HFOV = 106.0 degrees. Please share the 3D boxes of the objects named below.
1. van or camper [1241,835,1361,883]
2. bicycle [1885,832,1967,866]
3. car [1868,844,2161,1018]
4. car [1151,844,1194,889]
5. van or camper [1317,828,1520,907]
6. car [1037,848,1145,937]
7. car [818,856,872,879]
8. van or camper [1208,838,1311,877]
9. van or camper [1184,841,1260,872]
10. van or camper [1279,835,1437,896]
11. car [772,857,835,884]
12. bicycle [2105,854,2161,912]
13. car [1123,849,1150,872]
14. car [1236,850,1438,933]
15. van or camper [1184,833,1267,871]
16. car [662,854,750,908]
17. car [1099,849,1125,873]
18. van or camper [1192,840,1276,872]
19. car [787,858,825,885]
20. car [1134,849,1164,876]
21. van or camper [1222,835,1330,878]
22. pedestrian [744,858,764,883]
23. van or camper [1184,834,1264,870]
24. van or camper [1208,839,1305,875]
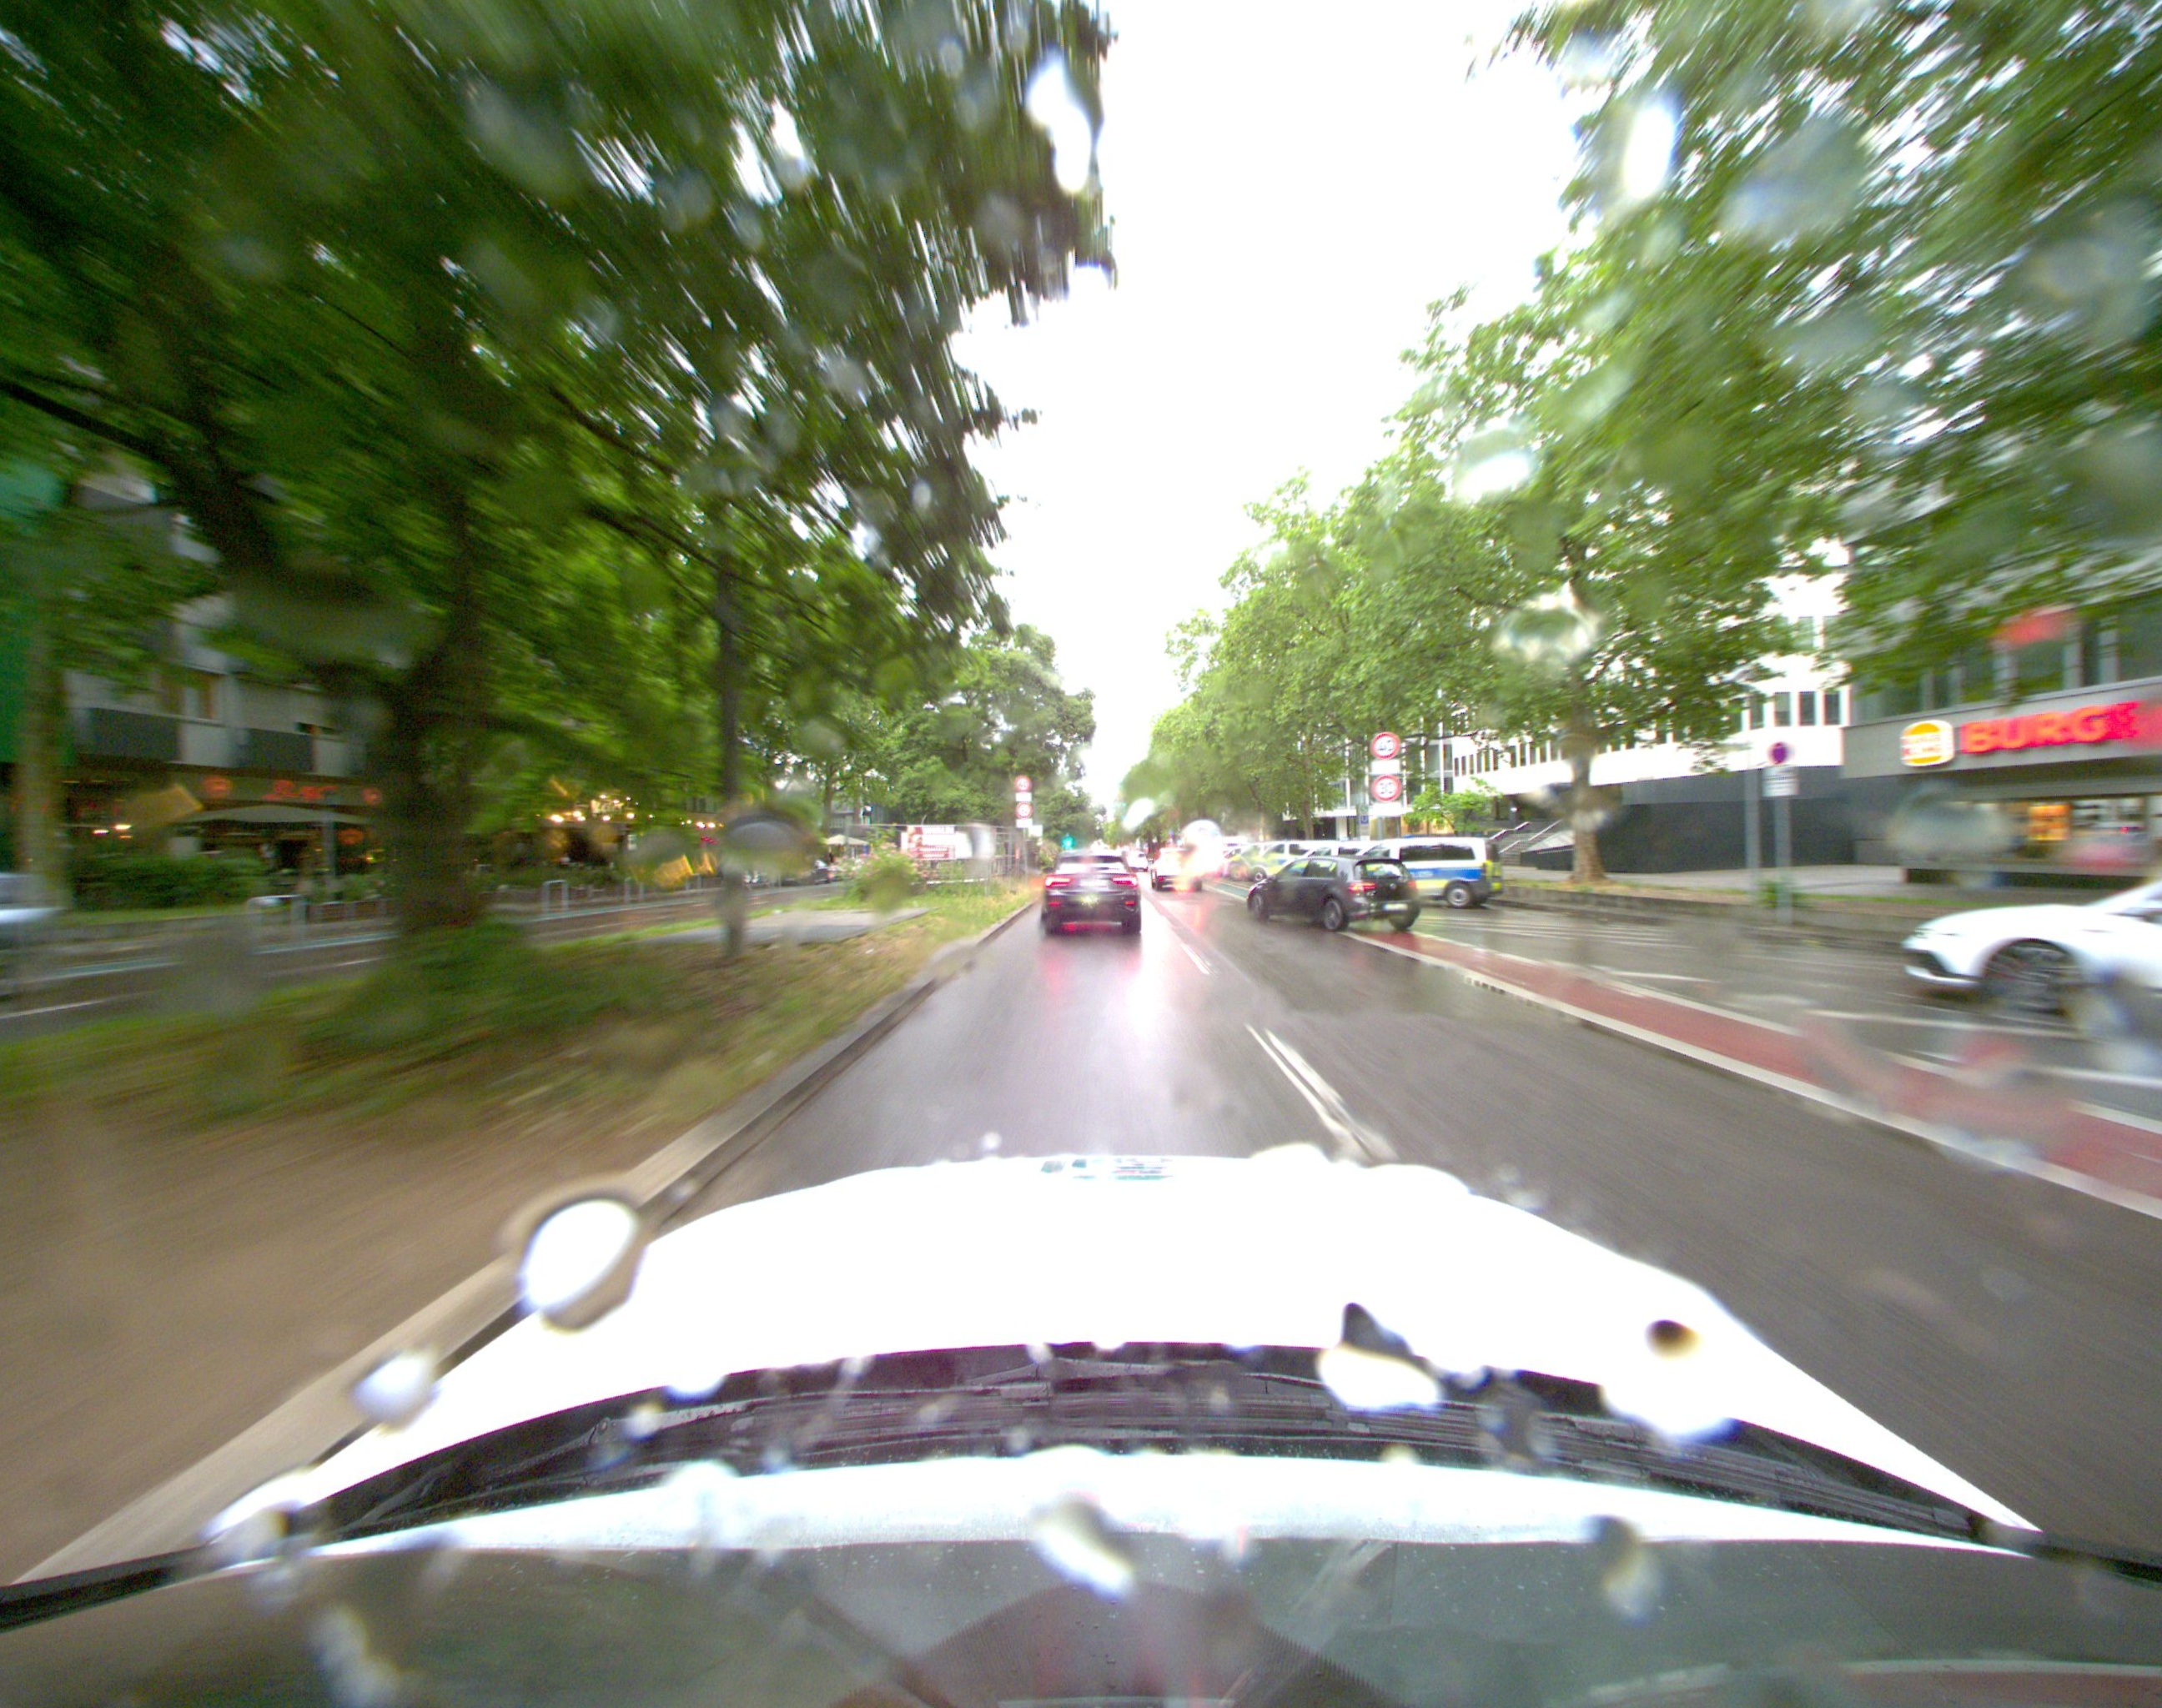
[{"bbox_3d":[9.787,0.230,36.449,4.792,1.998,1.880,-1,0,38],"label":"van or camper"},{"bbox_3d":[31.106,-0.182,30.032,0.684,1.173,2.288,-1,0,1],"label":"bicycle"},{"bbox_3d":[10.028,0.637,7.008,1.876,1.445,4.458,-1,0,-38],"label":"car"},{"bbox_3d":[3.592,0.466,32.344,1.428,1.685,2.980,-2,0,2],"label":"car"},{"bbox_3d":[9.405,0.341,22.914,4.884,1.992,2.015,0,0,39],"label":"van or camper"},{"bbox_3d":[0.279,0.664,16.550,1.856,1.532,4.530,-1,0,3],"label":"car"},{"bbox_3d":[-14.989,0.836,51.889,1.986,1.370,4.541,1,0,1],"label":"car"},{"bbox_3d":[9.591,0.216,43.909,4.959,1.995,2.013,-1,0,34],"label":"van or camper"},{"bbox_3d":[9.993,0.211,57.883,4.952,2.014,2.013,-2,-1,37],"label":"van or camper"},{"bbox_3d":[9.947,0.363,29.475,5.023,2.019,2.010,0,0,38],"label":"van or camper"},{"bbox_3d":[-15.234,0.876,44.917,1.818,1.394,4.485,-1,0,1],"label":"car"},{"bbox_3d":[18.260,0.496,13.282,0.639,0.923,1.912,-3,1,-2],"label":"bicycle"},{"bbox_3d":[4.383,0.491,64.689,1.986,1.750,4.002,-2,0,2],"label":"car"},{"bbox_3d":[5.001,0.663,16.498,1.772,1.413,3.970,-2,0,-22],"label":"car"},{"bbox_3d":[10.695,-0.125,60.579,5.736,2.680,2.013,-1,0,36],"label":"van or camper"},{"bbox_3d":[-12.637,0.839,27.718,1.720,1.626,4.423,-1,0,-12],"label":"car"},{"bbox_3d":[2.109,0.490,56.833,1.715,1.577,3.962,-1,0,1],"label":"car"},{"bbox_3d":[10.112,0.145,54.108,5.142,1.992,2.013,0,-1,36],"label":"van or camper"},{"bbox_3d":[-15.053,0.950,44.609,1.046,1.387,2.695,-2,0,2],"label":"car"},{"bbox_3d":[4.629,0.576,56.151,1.815,1.750,4.002,-2,0,2],"label":"car"},{"bbox_3d":[9.624,0.159,40.378,4.733,2.011,2.013,-1,0,37],"label":"van or camper"},{"bbox_3d":[-18.243,0.930,45.470,0.761,1.380,0.933,-1,0,-2],"label":"pedestrian"},{"bbox_3d":[11.101,-0.136,63.591,5.741,2.677,2.161,-1,0,38],"label":"van or camper"},{"bbox_3d":[10.142,0.186,47.327,5.042,2.025,2.119,-1,0,39],"label":"van or camper"}]
